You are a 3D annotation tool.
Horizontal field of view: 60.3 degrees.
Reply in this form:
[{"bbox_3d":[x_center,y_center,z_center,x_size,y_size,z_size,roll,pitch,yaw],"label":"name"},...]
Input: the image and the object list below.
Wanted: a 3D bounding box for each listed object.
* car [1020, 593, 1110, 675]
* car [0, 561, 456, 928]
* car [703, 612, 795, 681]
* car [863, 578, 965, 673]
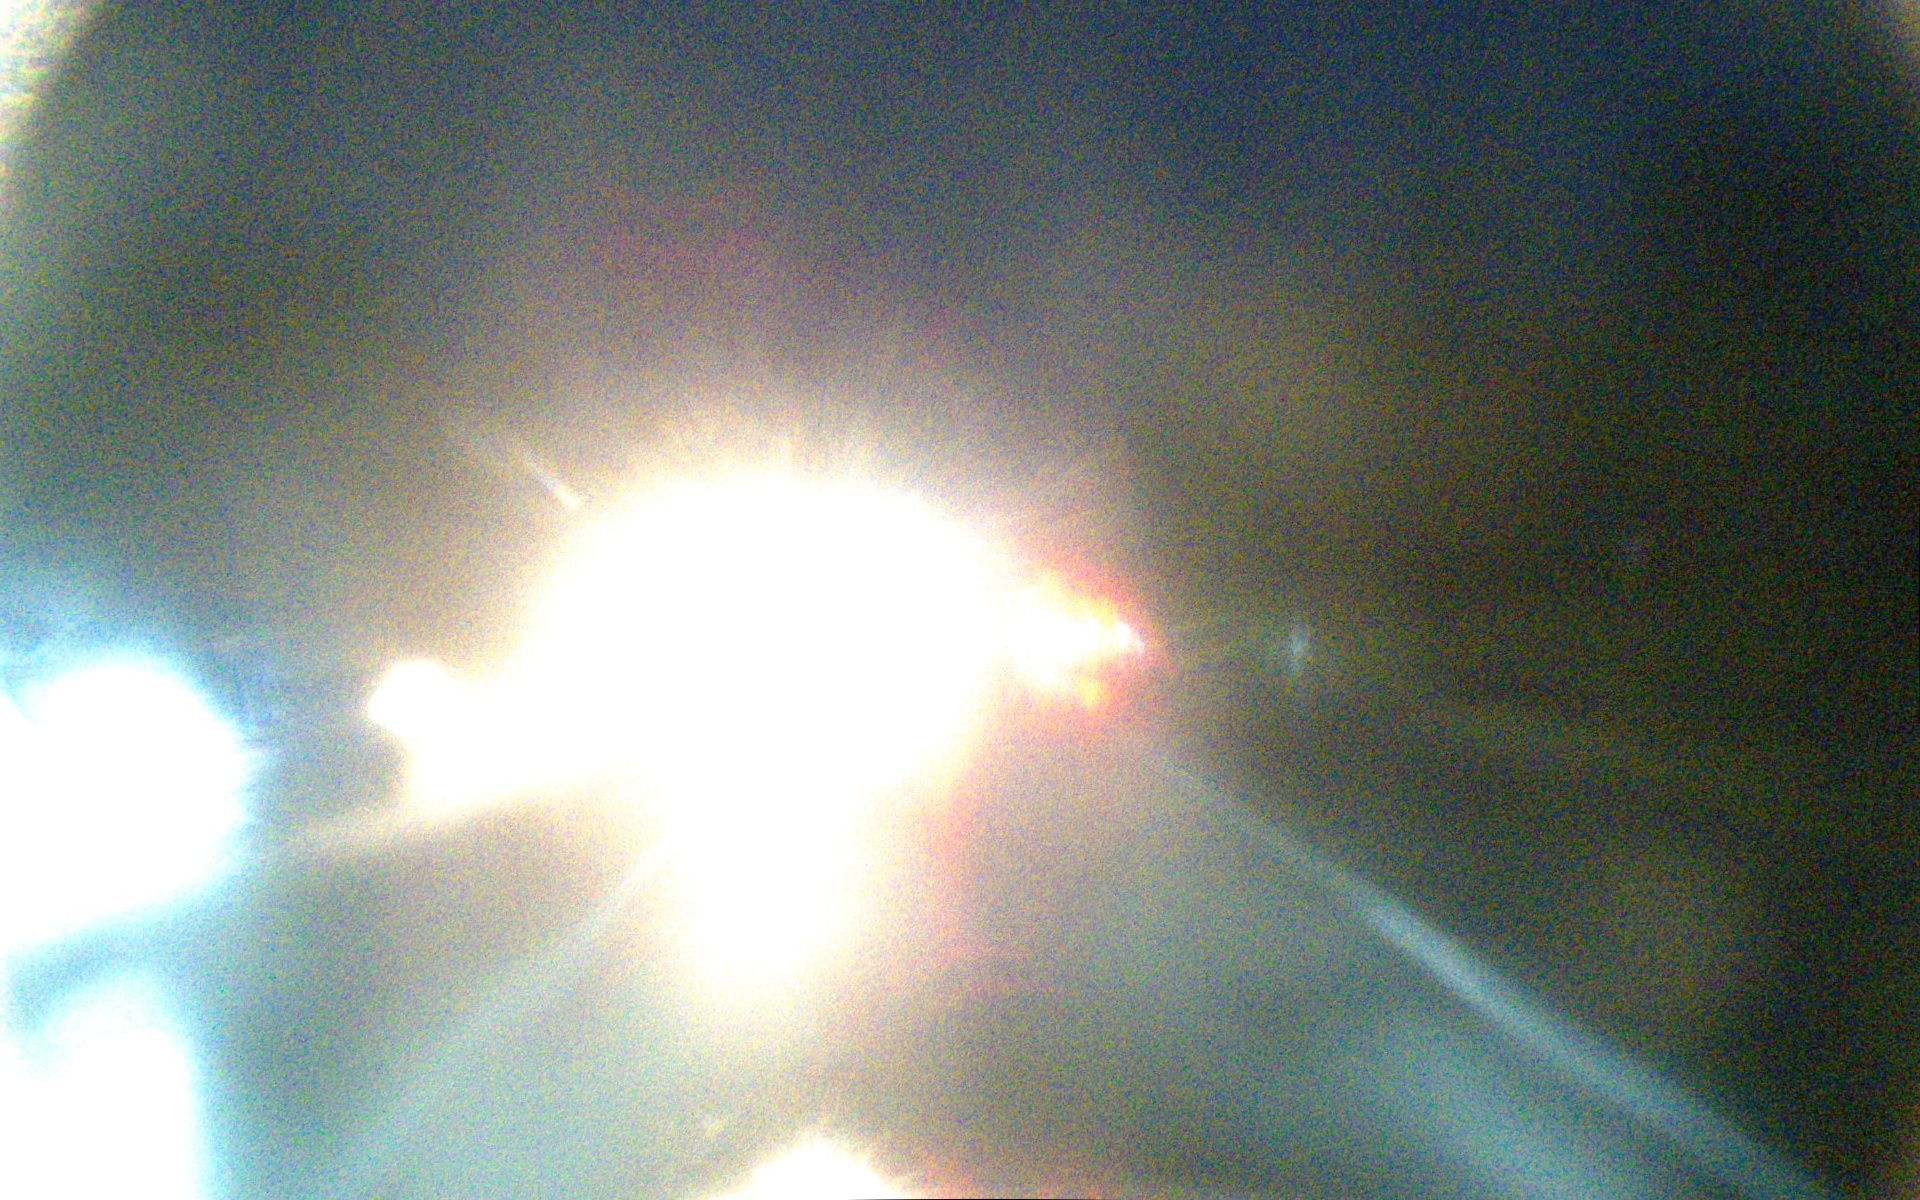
[{"bbox_3d":[2.762,0.872,44.370,2.051,2.049,3.999,2,0,-1],"label":"car"},{"bbox_3d":[-4.362,0.555,8.874,1.953,1.443,4.664,2,0,-2],"label":"car"},{"bbox_3d":[-5.142,1.108,40.666,1.954,1.524,3.771,2,0,-4],"label":"car"},{"bbox_3d":[-0.931,0.457,31.475,1.773,1.650,3.997,1,0,-4],"label":"car"}]
